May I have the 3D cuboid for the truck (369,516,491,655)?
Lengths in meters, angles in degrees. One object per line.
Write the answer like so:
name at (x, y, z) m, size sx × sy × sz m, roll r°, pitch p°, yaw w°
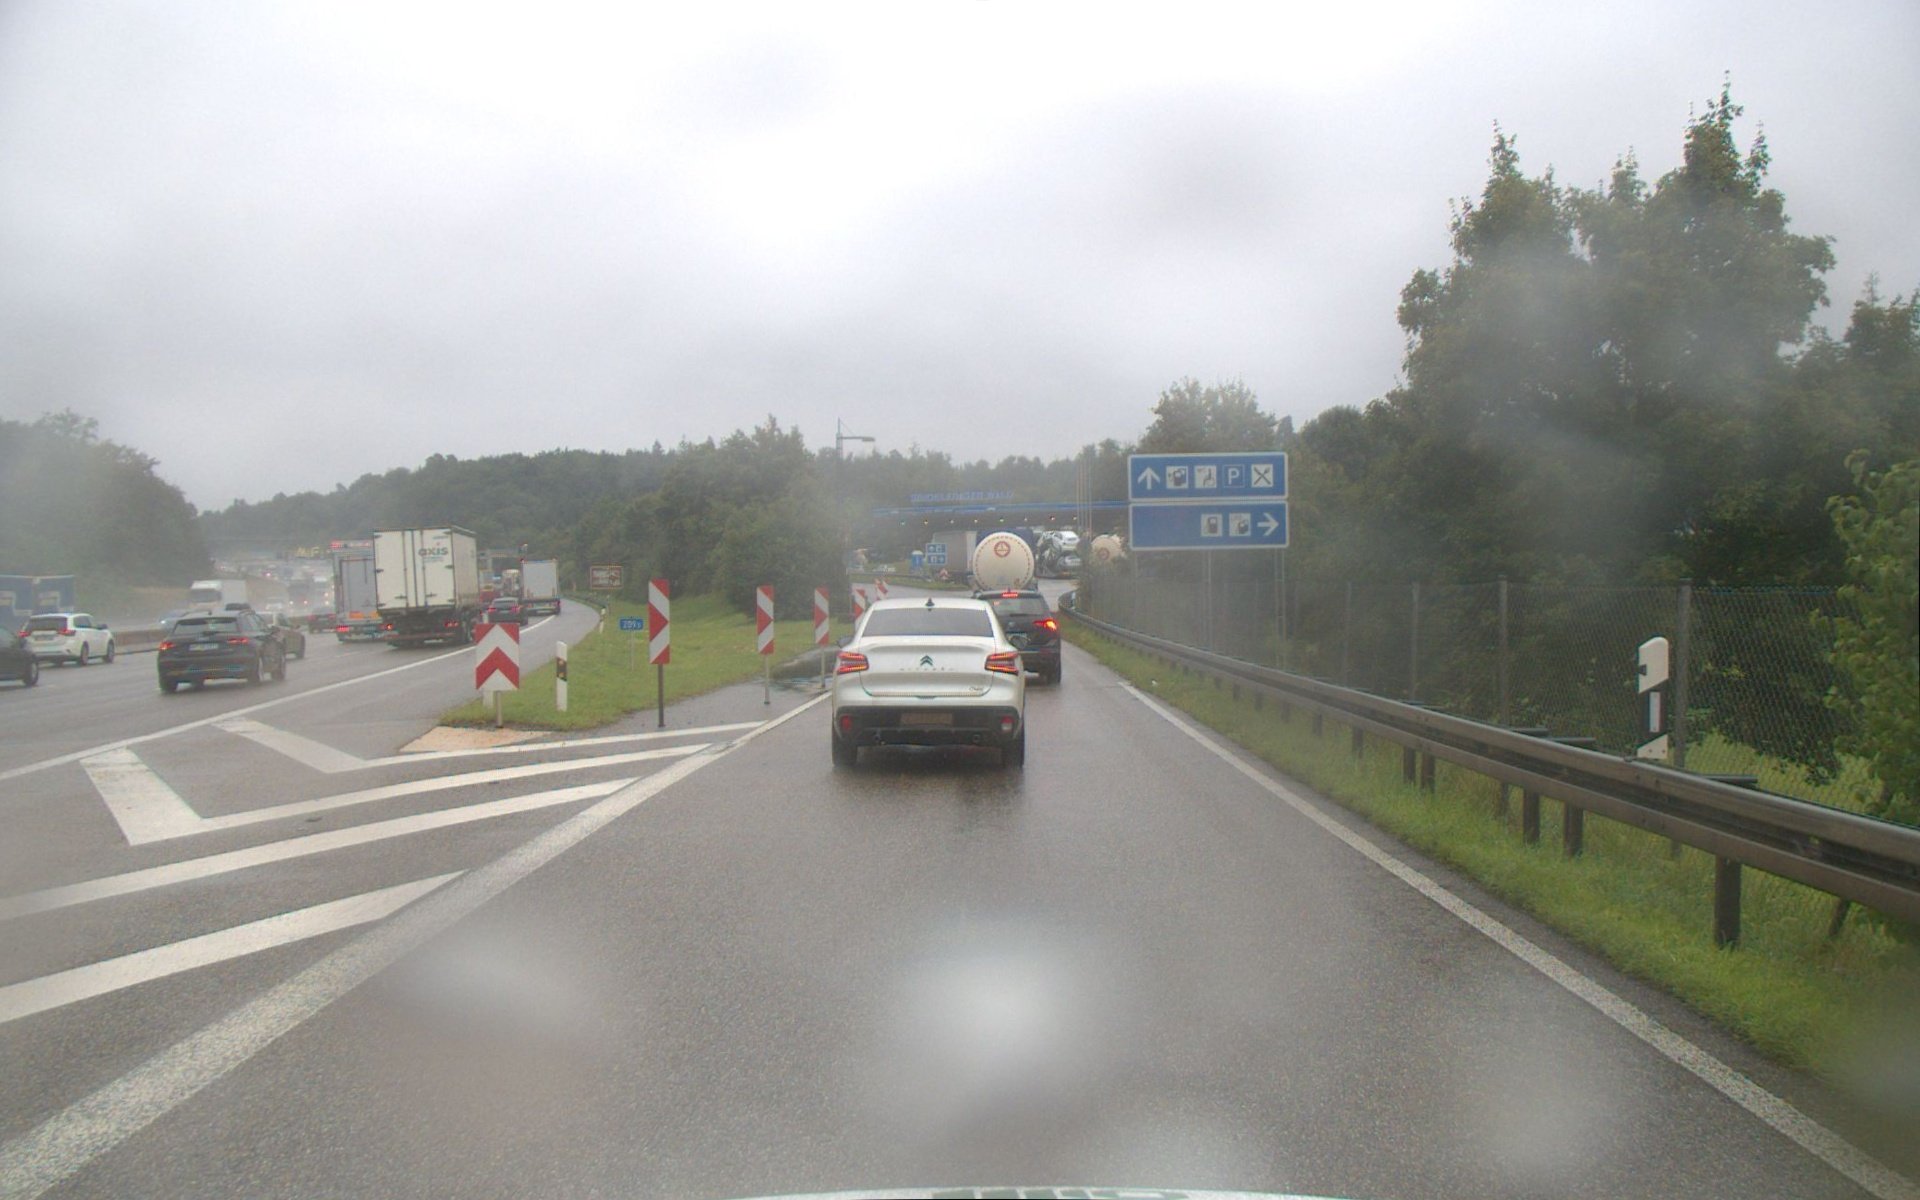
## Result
truck at (-18.687, -0.442, 59.004) m, size 2.799 × 4.367 × 11.807 m, roll -2°, pitch 0°, yaw -12°

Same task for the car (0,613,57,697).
car at (-21.605, 1.218, 36.429) m, size 1.744 × 1.766 × 4.089 m, roll -2°, pitch 0°, yaw -11°

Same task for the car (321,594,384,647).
car at (-25.175, 0.828, 68.656) m, size 1.961 × 2.048 × 3.984 m, roll -3°, pitch 0°, yaw -15°

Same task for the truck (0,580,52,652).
truck at (-55.858, 0.876, 95.143) m, size 3.006 × 4.049 × 10.532 m, roll 2°, pitch -1°, yaw -10°

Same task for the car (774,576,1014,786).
car at (-0.567, 0.659, 15.617) m, size 1.953 × 1.708 × 3.999 m, roll 1°, pitch 0°, yaw -1°

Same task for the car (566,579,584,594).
car at (-52.742, -1.818, 226.475) m, size 1.963 × 2.049 × 3.979 m, roll 1°, pitch 0°, yaw -18°

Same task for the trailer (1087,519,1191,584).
trailer at (10.532, -2.878, 96.096) m, size 2.091 × 3.500 × 10.238 m, roll -1°, pitch 2°, yaw 29°

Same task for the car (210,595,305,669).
car at (-20.400, 0.891, 48.186) m, size 1.757 × 2.005 × 4.320 m, roll -1°, pitch 0°, yaw -13°

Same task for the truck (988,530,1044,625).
truck at (2.272, -0.933, 66.079) m, size 2.010 × 3.592 × 4.749 m, roll -1°, pitch 2°, yaw 3°

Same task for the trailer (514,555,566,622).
trailer at (-31.859, -0.821, 125.509) m, size 3.489 × 4.692 × 12.073 m, roll -3°, pitch 1°, yaw -14°

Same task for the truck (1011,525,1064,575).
truck at (6.826, -4.468, 146.678) m, size 3.173 × 4.261 × 8.430 m, roll -1°, pitch 2°, yaw -8°

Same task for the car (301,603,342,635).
car at (-37.473, 1.099, 97.166) m, size 1.669 × 1.818 × 3.772 m, roll -2°, pitch 0°, yaw -14°

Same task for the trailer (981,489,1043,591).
trailer at (1.925, -2.137, 59.625) m, size 1.939 × 3.280 × 10.326 m, roll -1°, pitch 2°, yaw 2°

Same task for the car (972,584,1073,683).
car at (1.095, 0.579, 30.386) m, size 1.707 × 1.696 × 4.000 m, roll 1°, pitch 0°, yaw 1°

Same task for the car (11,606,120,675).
car at (-28.933, 1.267, 53.629) m, size 1.959 × 2.048 × 3.988 m, roll -3°, pitch 0°, yaw -12°

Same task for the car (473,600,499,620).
car at (-43.032, 0.919, 150.318) m, size 1.959 × 1.778 × 3.987 m, roll 1°, pitch 0°, yaw -12°

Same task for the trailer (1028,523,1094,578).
trailer at (8.228, -4.134, 136.771) m, size 3.155 × 4.261 × 11.510 m, roll -1°, pitch 2°, yaw -8°

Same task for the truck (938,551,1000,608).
truck at (0.576, -1.657, 124.717) m, size 2.328 × 3.940 × 12.426 m, roll -3°, pitch 2°, yaw -10°

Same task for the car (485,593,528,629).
car at (-24.262, 0.569, 88.522) m, size 1.958 × 1.847 × 3.988 m, roll 1°, pitch 1°, yaw -12°

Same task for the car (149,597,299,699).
car at (-14.104, 0.864, 31.908) m, size 1.744 × 1.766 × 3.836 m, roll -3°, pitch 0°, yaw -11°
